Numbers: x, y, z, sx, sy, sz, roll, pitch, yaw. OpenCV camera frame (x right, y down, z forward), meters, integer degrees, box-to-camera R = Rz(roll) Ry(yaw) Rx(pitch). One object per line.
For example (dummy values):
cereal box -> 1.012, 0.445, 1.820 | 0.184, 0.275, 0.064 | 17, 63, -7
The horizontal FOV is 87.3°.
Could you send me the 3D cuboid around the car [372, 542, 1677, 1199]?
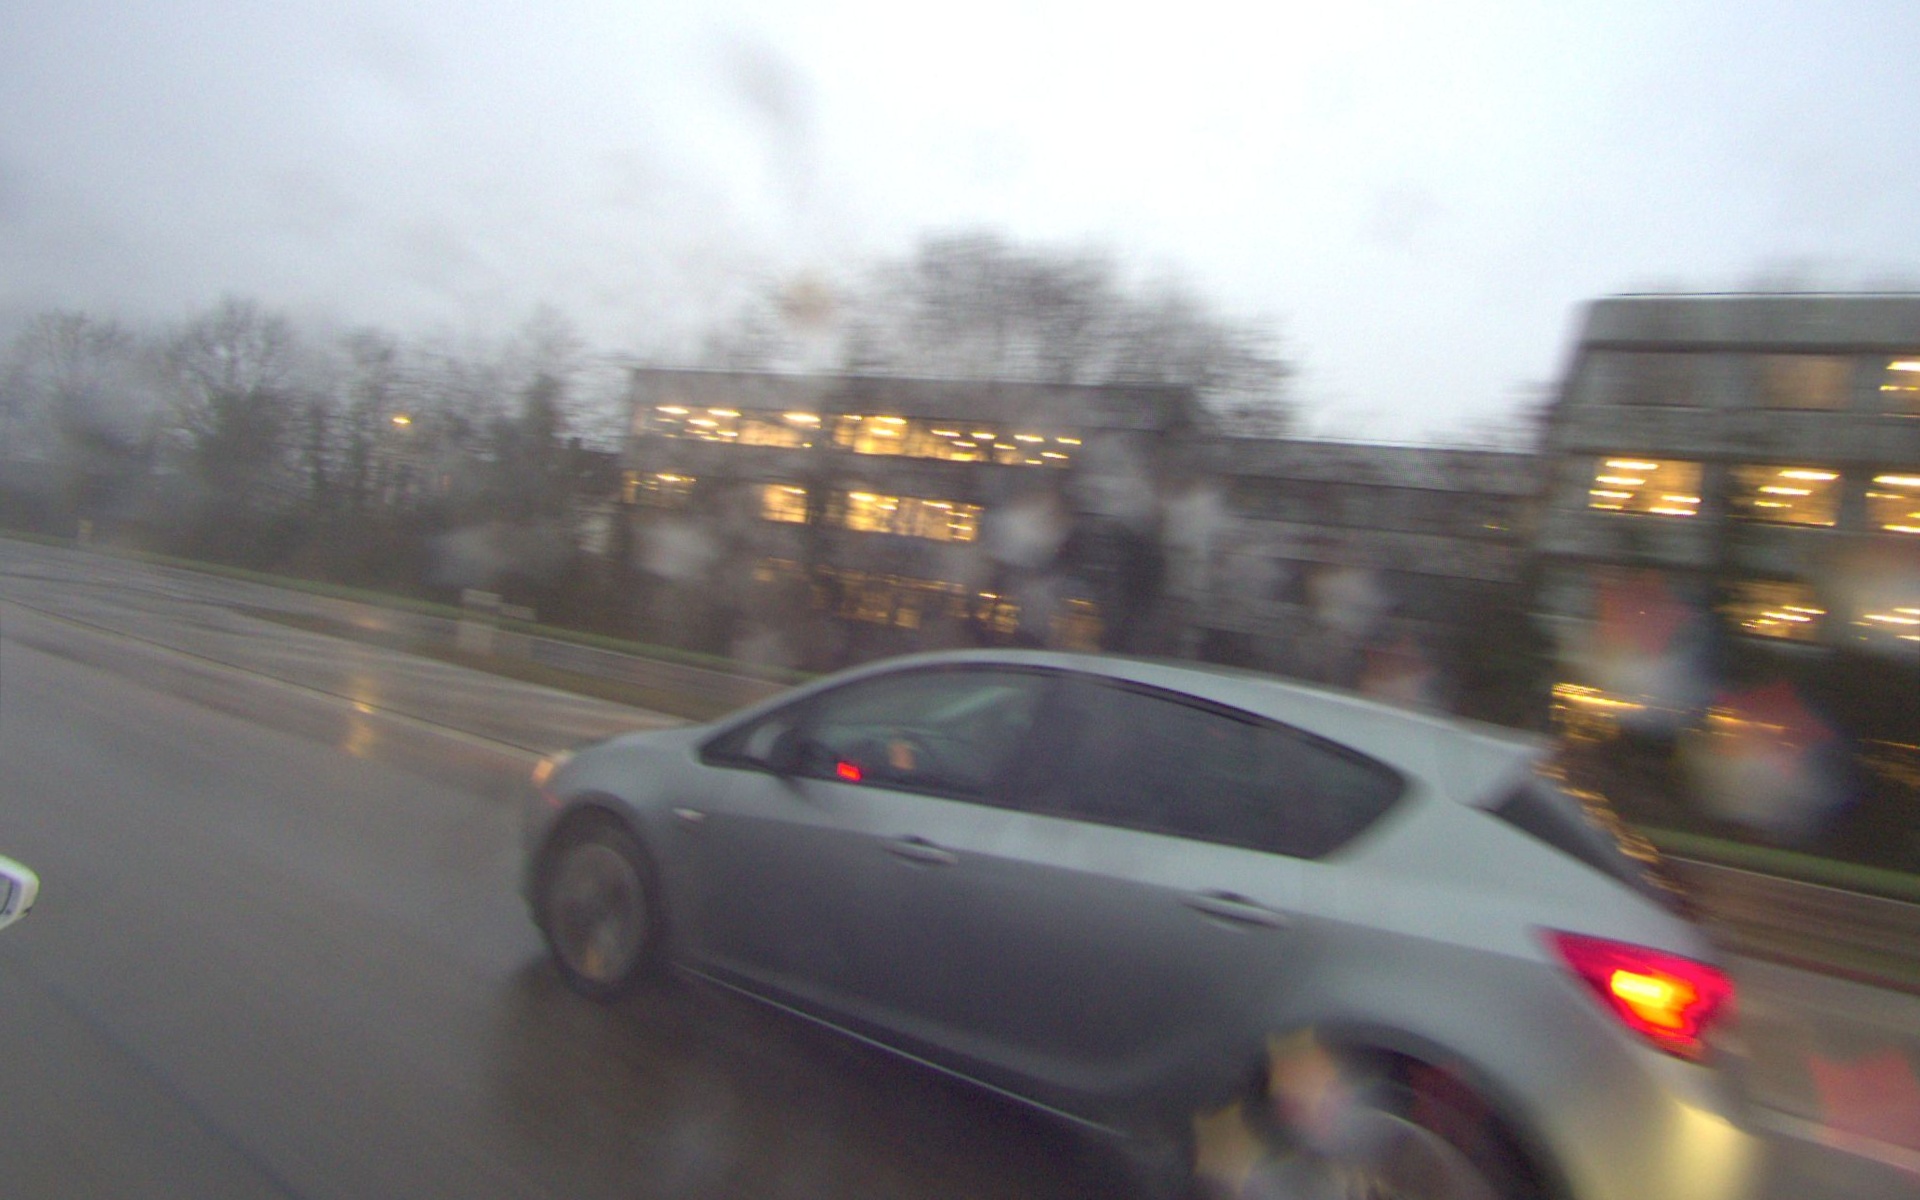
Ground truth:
car -> -0.032, 0.815, 3.839 | 4.190, 1.519, 1.854 | 6, -2, 30
